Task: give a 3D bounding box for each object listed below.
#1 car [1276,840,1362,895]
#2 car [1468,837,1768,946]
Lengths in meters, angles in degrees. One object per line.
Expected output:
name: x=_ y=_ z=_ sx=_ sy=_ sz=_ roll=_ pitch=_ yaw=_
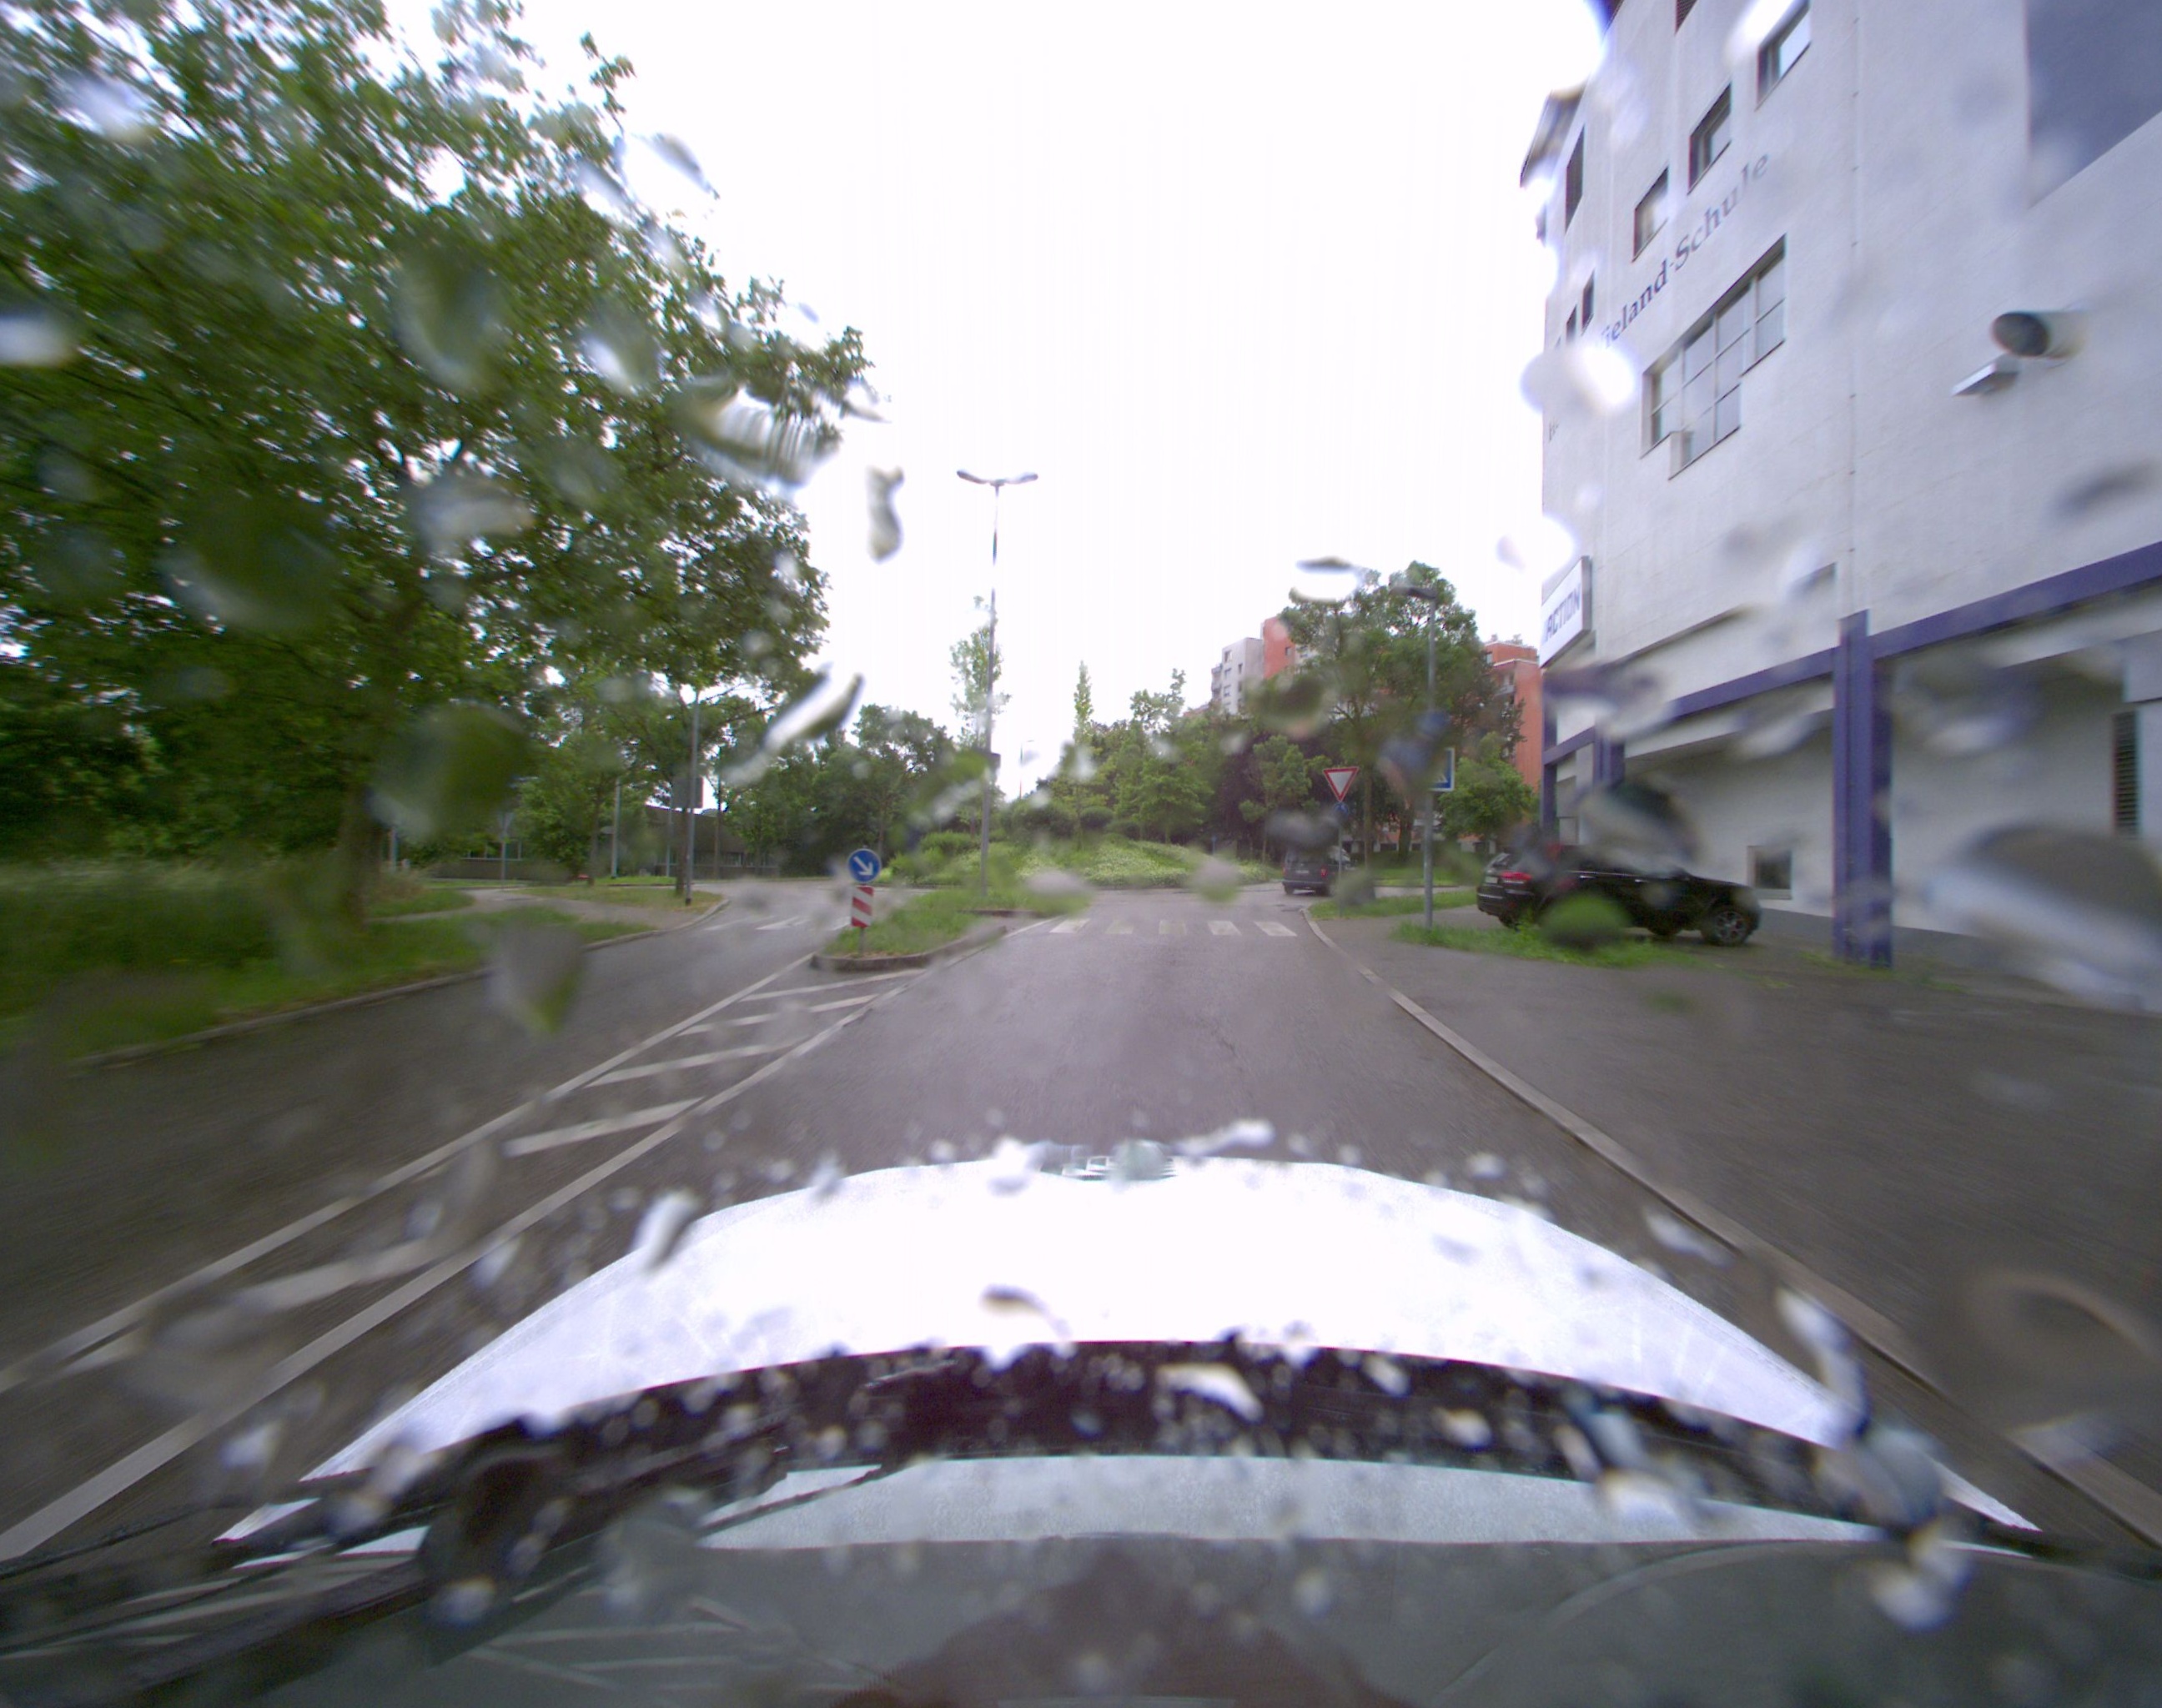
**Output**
car: x=8.819 y=0.435 z=30.002 sx=1.900 sy=1.801 sz=3.814 roll=2 pitch=3 yaw=35
car: x=9.942 y=0.636 z=15.352 sx=4.360 sy=1.759 sz=1.830 roll=2 pitch=2 yaw=2
